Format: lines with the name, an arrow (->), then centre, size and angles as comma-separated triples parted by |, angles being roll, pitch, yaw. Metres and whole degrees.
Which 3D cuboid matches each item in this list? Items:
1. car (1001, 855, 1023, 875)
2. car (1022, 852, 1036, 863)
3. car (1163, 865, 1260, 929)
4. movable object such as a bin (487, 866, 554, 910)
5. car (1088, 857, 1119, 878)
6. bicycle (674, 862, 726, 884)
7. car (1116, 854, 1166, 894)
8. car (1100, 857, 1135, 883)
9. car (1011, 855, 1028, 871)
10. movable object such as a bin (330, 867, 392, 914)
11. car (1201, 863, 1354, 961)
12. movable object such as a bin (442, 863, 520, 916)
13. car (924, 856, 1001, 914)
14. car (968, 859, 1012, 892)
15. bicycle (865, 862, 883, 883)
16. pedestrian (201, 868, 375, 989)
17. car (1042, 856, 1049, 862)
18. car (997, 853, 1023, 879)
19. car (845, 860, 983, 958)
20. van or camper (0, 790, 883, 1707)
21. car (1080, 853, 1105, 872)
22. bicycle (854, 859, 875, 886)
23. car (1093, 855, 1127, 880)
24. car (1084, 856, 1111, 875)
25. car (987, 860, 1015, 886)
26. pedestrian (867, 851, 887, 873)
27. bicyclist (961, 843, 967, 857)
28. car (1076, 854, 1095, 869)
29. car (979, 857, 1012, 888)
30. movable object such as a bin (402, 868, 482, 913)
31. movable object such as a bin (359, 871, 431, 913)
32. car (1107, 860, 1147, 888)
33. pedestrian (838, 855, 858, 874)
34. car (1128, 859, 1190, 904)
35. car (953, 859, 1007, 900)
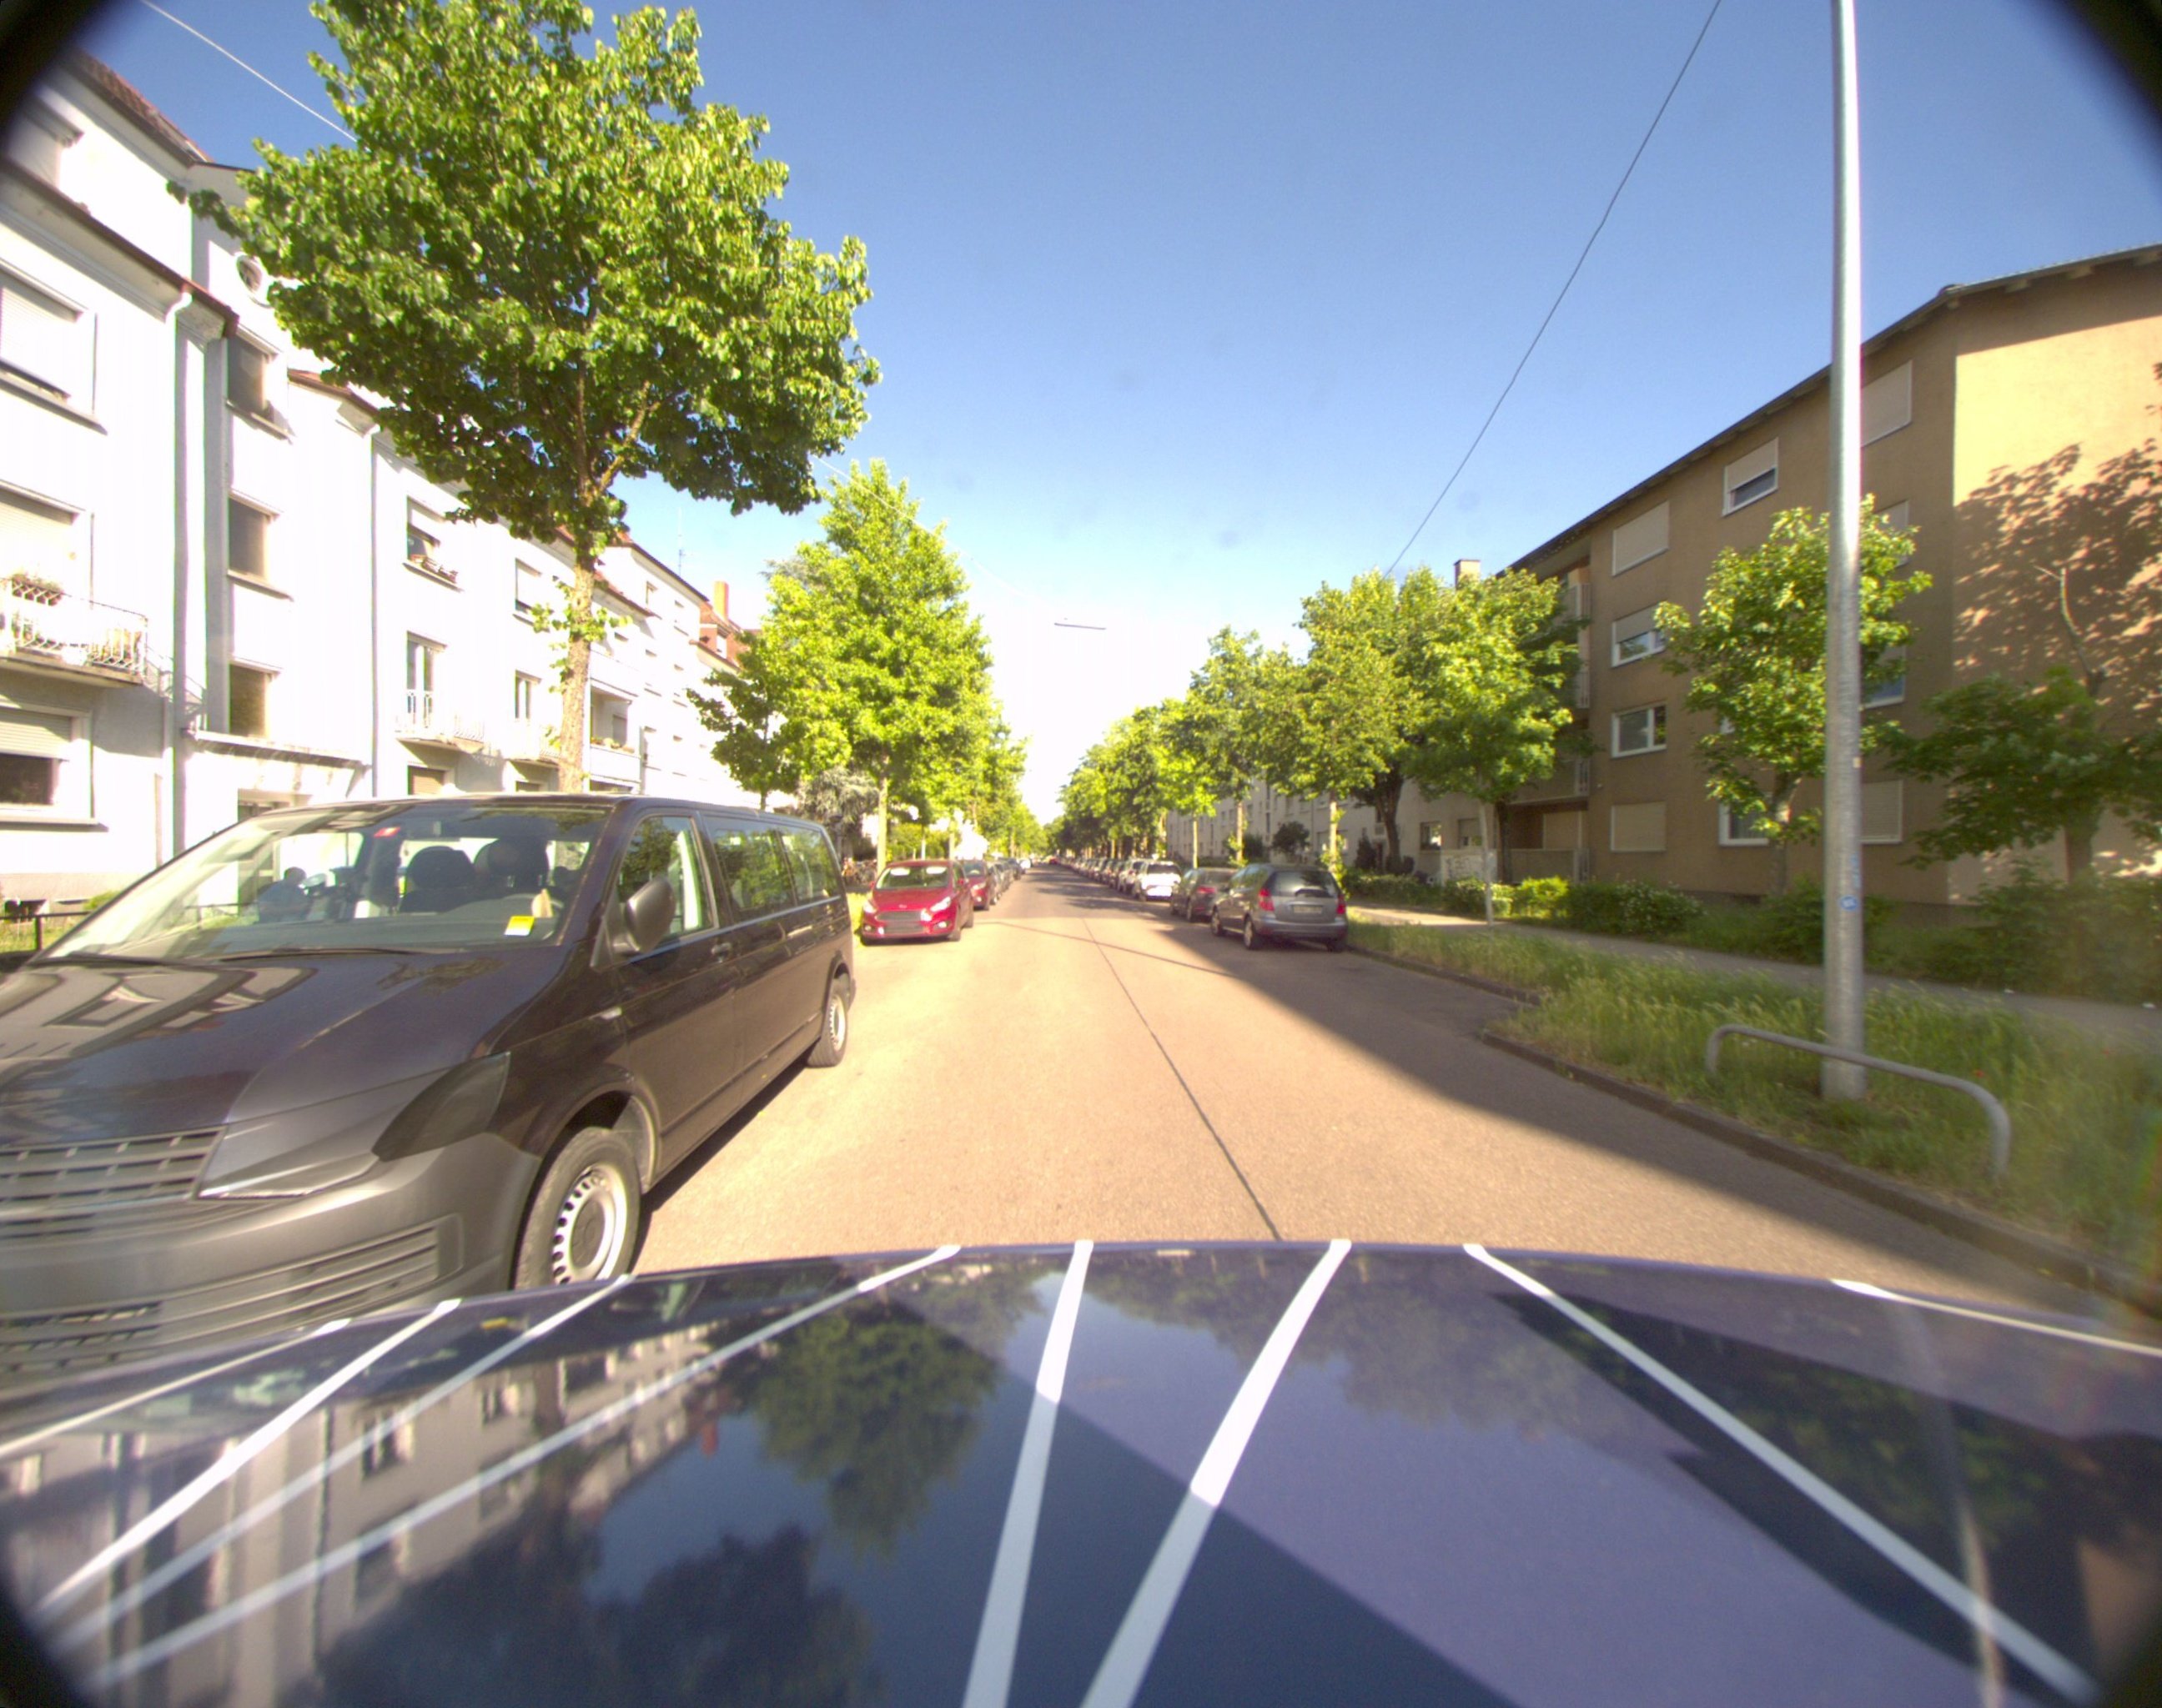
car -> -5.792, 0.883, 64.209 | 1.769, 1.487, 3.931 | -2, 1, -5
car -> -7.522, 0.529, 110.503 | 1.892, 1.624, 3.887 | 0, 0, -3
car -> 3.441, 1.089, 20.765 | 1.664, 1.387, 4.090 | -2, 1, -4
movable object such as a bin -> -11.704, 0.704, 15.893 | 0.777, 0.858, 0.765 | -2, 1, 2
car -> 1.600, 0.958, 55.678 | 1.880, 1.367, 4.067 | 1, 1, -3
bicycle -> -17.002, 0.851, 33.946 | 2.035, 0.913, 0.559 | 1, 1, 2
car -> 2.717, 0.879, 35.060 | 1.708, 1.670, 4.221 | 1, 1, -3
car -> 2.173, 0.939, 45.901 | 1.653, 1.437, 3.965 | 1, 1, -3
car -> -6.049, 0.877, 74.443 | 1.609, 1.402, 3.668 | -2, 1, -5
movable object such as a bin -> -15.080, 0.759, 15.926 | 0.672, 0.916, 0.596 | -2, 1, 2
car -> 3.701, 1.025, 15.095 | 1.725, 1.553, 4.106 | 1, 1, -3
movable object such as a bin -> -12.553, 0.731, 15.936 | 0.777, 1.020, 1.010 | -2, 1, 2
car -> -3.751, 0.926, 24.807 | 1.935, 1.558, 4.591 | 2, 1, -2
car -> -4.310, 1.008, 36.582 | 1.769, 1.389, 3.694 | -2, 1, -3
bicycle -> -10.955, 0.956, 40.253 | 0.433, 1.006, 2.248 | -6, 1, -5
pedestrian -> -9.249, 0.838, 8.912 | 1.085, 1.288, 0.818 | -2, 2, -4
car -> -8.578, 1.268, 183.728 | 1.769, 1.486, 3.781 | 0, 0, -4
car -> -5.034, 0.822, 54.068 | 1.769, 1.627, 4.013 | -2, 1, -5
car -> -3.288, 0.995, 16.001 | 1.904, 1.604, 4.971 | -1, 1, -2
van or camper -> -2.696, 0.799, 4.122 | 1.995, 1.852, 5.384 | -2, 1, -3
car -> 0.971, 0.777, 67.848 | 1.880, 1.553, 4.181 | 1, 1, -3
bicycle -> -10.567, 0.885, 37.140 | 0.490, 1.190, 2.174 | -2, 1, -3
car -> 1.902, 0.866, 50.612 | 1.820, 1.576, 4.407 | 1, 0, -3
car -> 1.315, 0.908, 62.223 | 1.880, 1.367, 4.181 | 1, 1, -3
car -> -4.892, 1.157, 46.922 | 1.610, 1.415, 4.013 | -2, 1, -5
pedestrian -> -12.741, 0.474, 47.437 | 1.038, 1.370, 0.714 | 0, 1, -38
bicyclist -> -11.411, -0.353, 73.927 | 0.497, 1.331, 0.719 | 2, 1, -3
car -> 0.451, 0.772, 79.520 | 1.769, 1.487, 4.013 | -2, 1, -3
car -> -4.590, 0.956, 41.316 | 1.610, 1.456, 3.869 | -2, 1, -5
movable object such as a bin -> -13.401, 0.759, 15.966 | 0.777, 0.858, 1.010 | -2, 1, 3
movable object such as a bin -> -14.252, 0.783, 15.797 | 0.777, 0.817, 0.743 | -2, 1, 2
car -> 2.419, 1.037, 40.919 | 1.662, 1.384, 4.235 | 0, 0, -3
pedestrian -> -14.359, 0.627, 46.891 | 1.036, 1.136, 0.715 | -2, 1, -8
car -> 2.996, 1.029, 29.803 | 1.721, 1.517, 3.998 | -2, 1, -4
car -> -3.987, 0.978, 30.627 | 1.716, 1.399, 4.489 | 1, 1, -2
